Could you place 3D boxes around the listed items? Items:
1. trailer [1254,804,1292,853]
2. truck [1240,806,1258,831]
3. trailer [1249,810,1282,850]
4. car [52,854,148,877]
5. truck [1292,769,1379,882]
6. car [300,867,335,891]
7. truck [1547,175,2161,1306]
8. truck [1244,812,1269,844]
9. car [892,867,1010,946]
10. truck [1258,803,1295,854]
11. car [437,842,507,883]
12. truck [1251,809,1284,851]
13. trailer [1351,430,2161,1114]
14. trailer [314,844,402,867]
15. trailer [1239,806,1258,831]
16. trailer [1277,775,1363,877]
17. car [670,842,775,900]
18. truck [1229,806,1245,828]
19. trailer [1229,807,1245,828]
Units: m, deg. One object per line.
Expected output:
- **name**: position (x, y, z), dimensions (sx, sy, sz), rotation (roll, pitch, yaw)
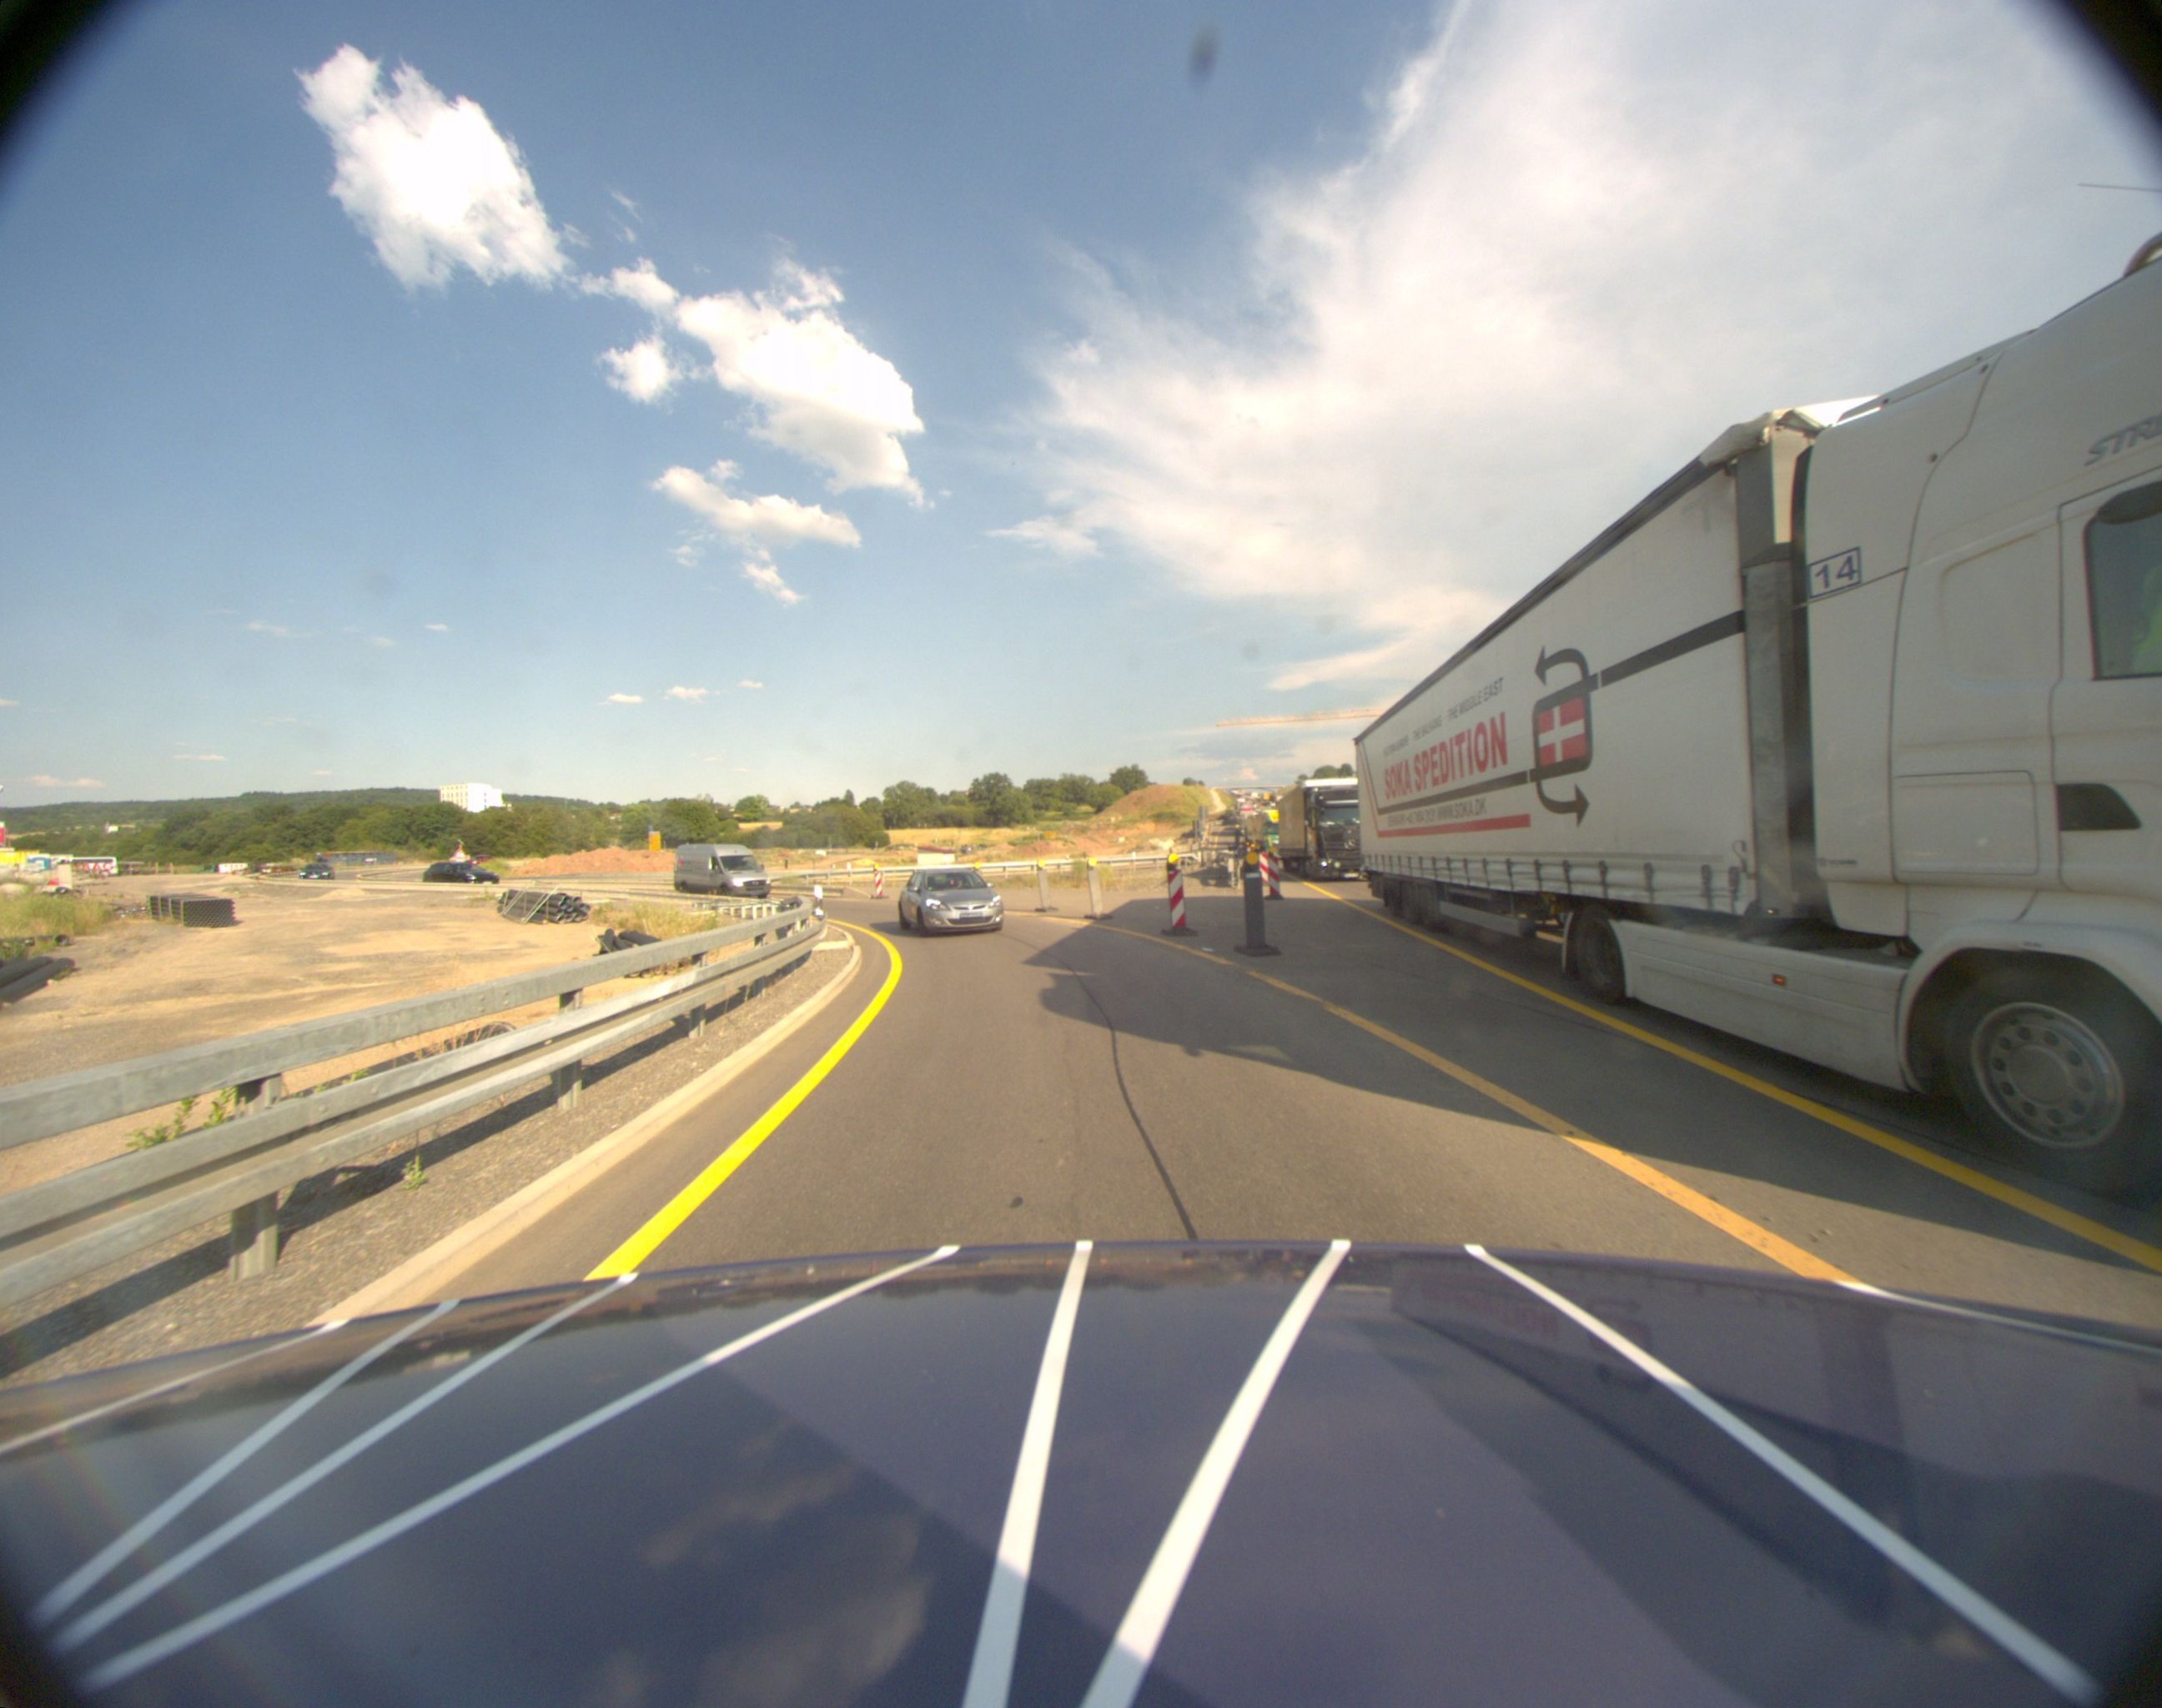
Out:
- **trailer**: position (17.131, -2.248, 68.520), dimensions (2.484, 3.936, 13.984), rotation (-1, 1, 11)
- **truck**: position (29.643, -6.276, 134.259), dimensions (3.108, 4.290, 6.901), rotation (0, 2, 11)
- **trailer**: position (21.254, -2.765, 88.047), dimensions (3.108, 4.290, 14.260), rotation (0, 2, 11)
- **car**: position (-98.323, 1.096, 76.253), dimensions (2.481, 2.067, 5.327), rotation (1, 2, 23)
- **truck**: position (10.105, -1.110, 30.709), dimensions (2.484, 4.037, 6.015), rotation (-1, 2, 11)
- **car**: position (-63.151, 2.032, 62.920), dimensions (1.640, 1.777, 4.115), rotation (-2, 2, -40)
- **truck**: position (5.247, -0.448, 4.228), dimensions (2.484, 3.857, 6.014), rotation (-1, 2, 10)
- **truck**: position (23.999, -3.504, 104.200), dimensions (3.108, 4.290, 6.901), rotation (0, 2, 11)
- **car**: position (-3.116, 1.114, 17.467), dimensions (1.750, 1.476, 4.245), rotation (-4, 0, -21)
- **truck**: position (15.887, -2.060, 61.990), dimensions (2.484, 3.879, 6.015), rotation (-1, 2, 11)
- **car**: position (-37.466, 0.469, 46.749), dimensions (3.989, 2.390, 1.880), rotation (1, 2, 28)
- **truck**: position (19.803, -2.548, 81.000), dimensions (3.108, 4.290, 6.901), rotation (0, 2, 11)
- **trailer**: position (6.468, -0.614, 11.141), dimensions (2.484, 3.856, 13.638), rotation (-1, 1, 10)
- **trailer**: position (-82.868, 0.150, 87.303), dimensions (3.011, 2.400, 7.227), rotation (-1, 2, 2)
- **trailer**: position (31.108, -6.488, 141.479), dimensions (3.108, 4.290, 14.260), rotation (0, 2, 11)
- **trailer**: position (11.411, -1.313, 37.500), dimensions (2.484, 4.039, 13.639), rotation (-1, 1, 11)
- **car**: position (-16.851, 0.715, 35.552), dimensions (5.780, 2.487, 1.921), rotation (1, 2, 37)
- **truck**: position (32.221, -7.639, 157.195), dimensions (3.108, 4.290, 6.901), rotation (0, 2, 11)
- **trailer**: position (33.833, -7.750, 165.056), dimensions (3.108, 4.290, 14.260), rotation (0, 2, 11)
